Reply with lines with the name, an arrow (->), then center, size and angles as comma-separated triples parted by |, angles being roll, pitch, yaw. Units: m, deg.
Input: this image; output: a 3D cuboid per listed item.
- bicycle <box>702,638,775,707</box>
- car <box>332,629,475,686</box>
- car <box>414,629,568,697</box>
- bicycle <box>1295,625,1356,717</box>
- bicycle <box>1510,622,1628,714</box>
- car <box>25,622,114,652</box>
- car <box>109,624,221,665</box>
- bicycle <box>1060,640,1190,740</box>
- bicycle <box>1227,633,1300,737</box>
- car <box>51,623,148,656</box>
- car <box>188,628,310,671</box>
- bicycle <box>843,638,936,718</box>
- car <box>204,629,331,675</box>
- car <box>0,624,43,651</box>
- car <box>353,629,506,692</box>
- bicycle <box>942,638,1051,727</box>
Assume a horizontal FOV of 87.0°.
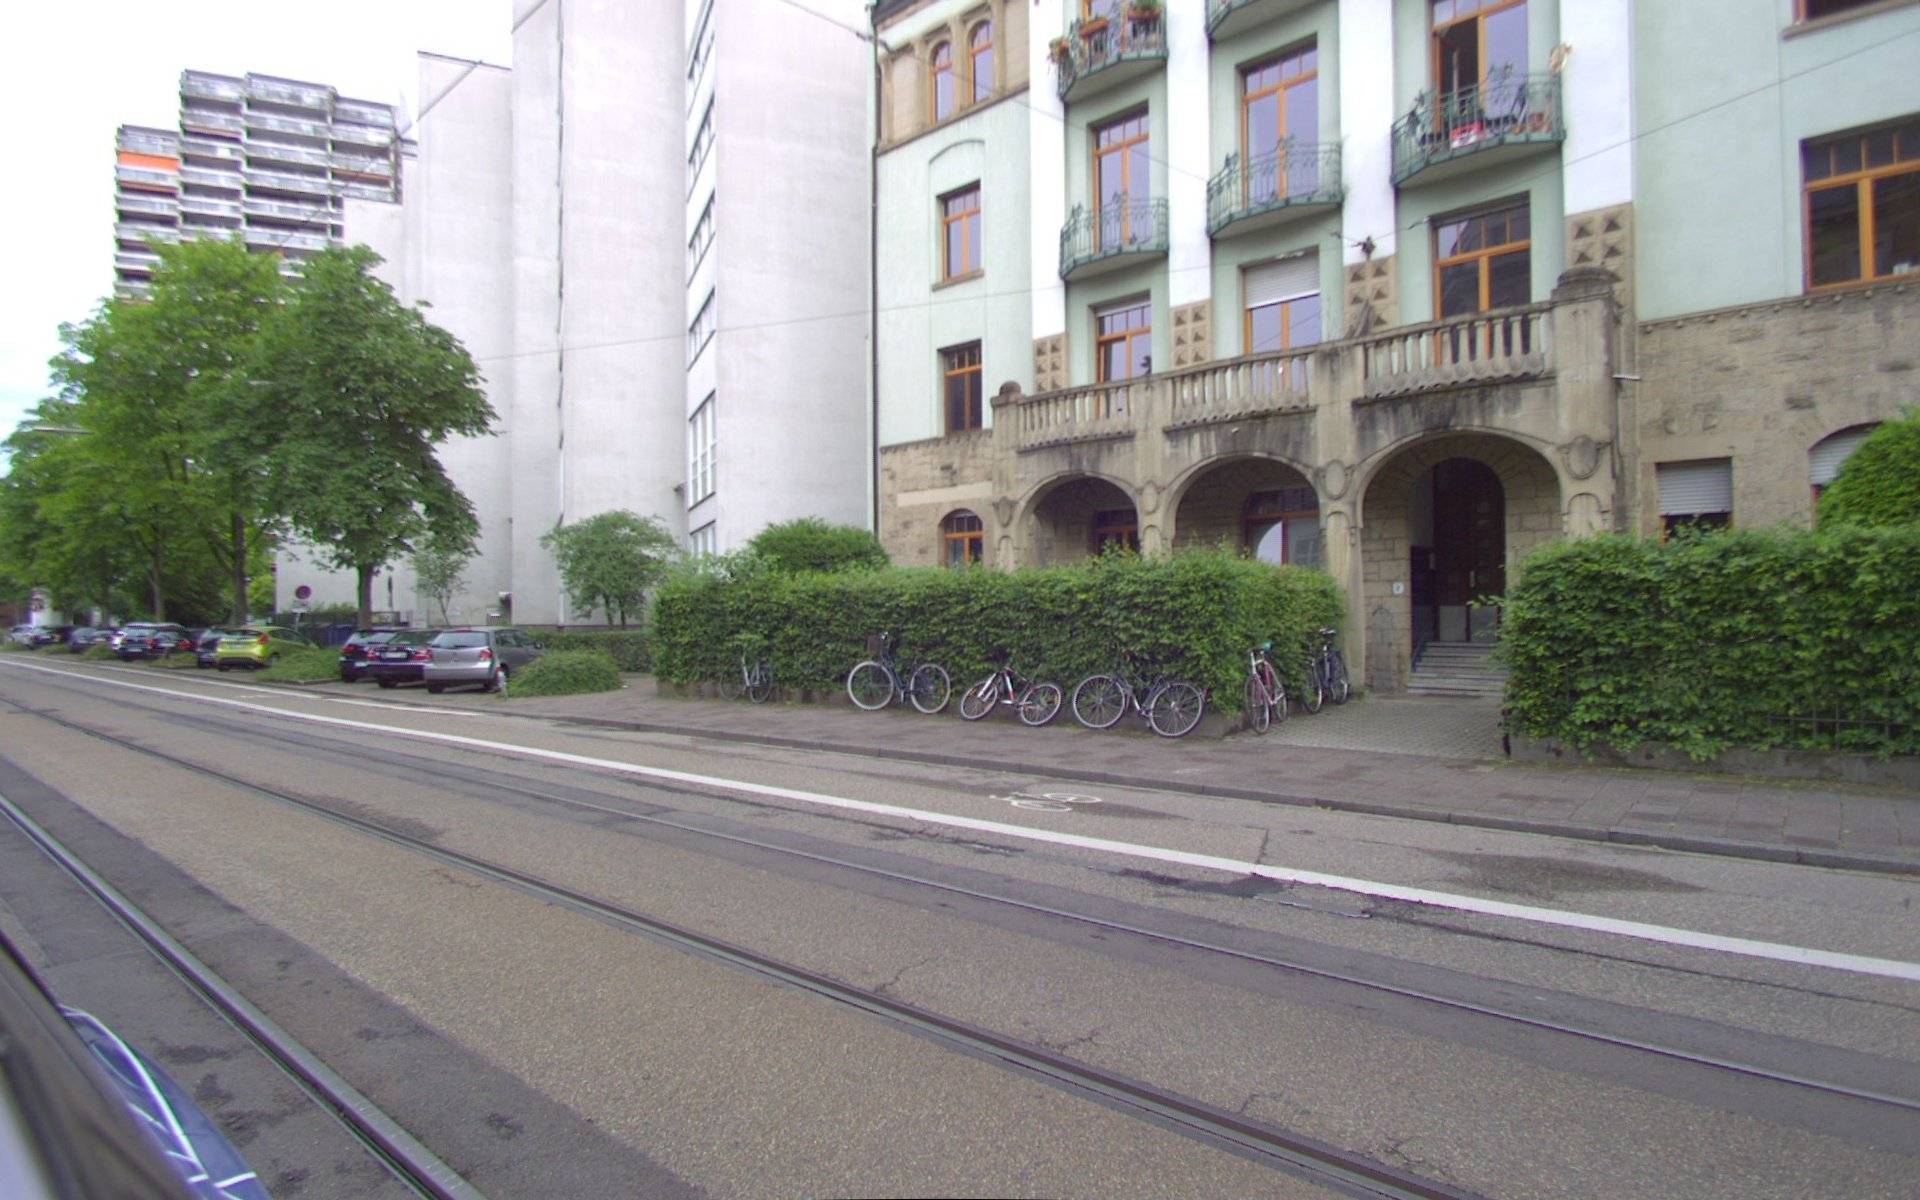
bicycle -> -3.730, 1.196, 16.975 | 1.546, 1.092, 0.356 | -2, -2, 41
car -> -15.025, 1.500, 27.569 | 1.672, 1.413, 3.998 | 0, -1, 1
car -> -10.694, 1.391, 23.407 | 1.672, 1.413, 3.998 | 0, -1, 1
bicycle -> 4.798, 0.905, 13.260 | 0.300, 1.091, 1.190 | -2, 1, 42
bicycle -> 7.541, 0.831, 12.552 | 1.203, 1.091, 0.297 | -2, 0, 35
car -> -50.373, 2.081, 57.356 | 1.670, 1.632, 4.002 | 0, -1, -3
car -> -32.904, 1.801, 42.035 | 1.670, 1.632, 4.002 | 0, -1, -3
bicycle -> 1.912, 1.028, 11.905 | 1.546, 1.092, 0.356 | -2, -2, 41
bicycle -> 3.542, 0.962, 11.772 | 0.300, 1.091, 1.190 | -2, 1, 42
car -> -43.419, 1.967, 51.178 | 1.670, 1.632, 4.002 | 0, -1, -3
car -> -25.222, 1.720, 36.064 | 1.670, 1.453, 4.002 | 0, -1, -3
bicycle -> -1.030, 1.098, 14.586 | 1.546, 1.092, 0.356 | -2, -2, 41
car -> -23.066, 1.690, 33.893 | 1.670, 1.405, 4.002 | 0, -1, -3
car -> -58.838, 2.358, 63.279 | 3.996, 1.632, 1.673 | -2, -2, 39
car -> -13.024, 1.444, 25.126 | 1.672, 1.413, 3.998 | 0, -1, 1
bicycle -> 0.461, 1.054, 13.233 | 1.546, 1.092, 0.356 | -2, -2, 41
